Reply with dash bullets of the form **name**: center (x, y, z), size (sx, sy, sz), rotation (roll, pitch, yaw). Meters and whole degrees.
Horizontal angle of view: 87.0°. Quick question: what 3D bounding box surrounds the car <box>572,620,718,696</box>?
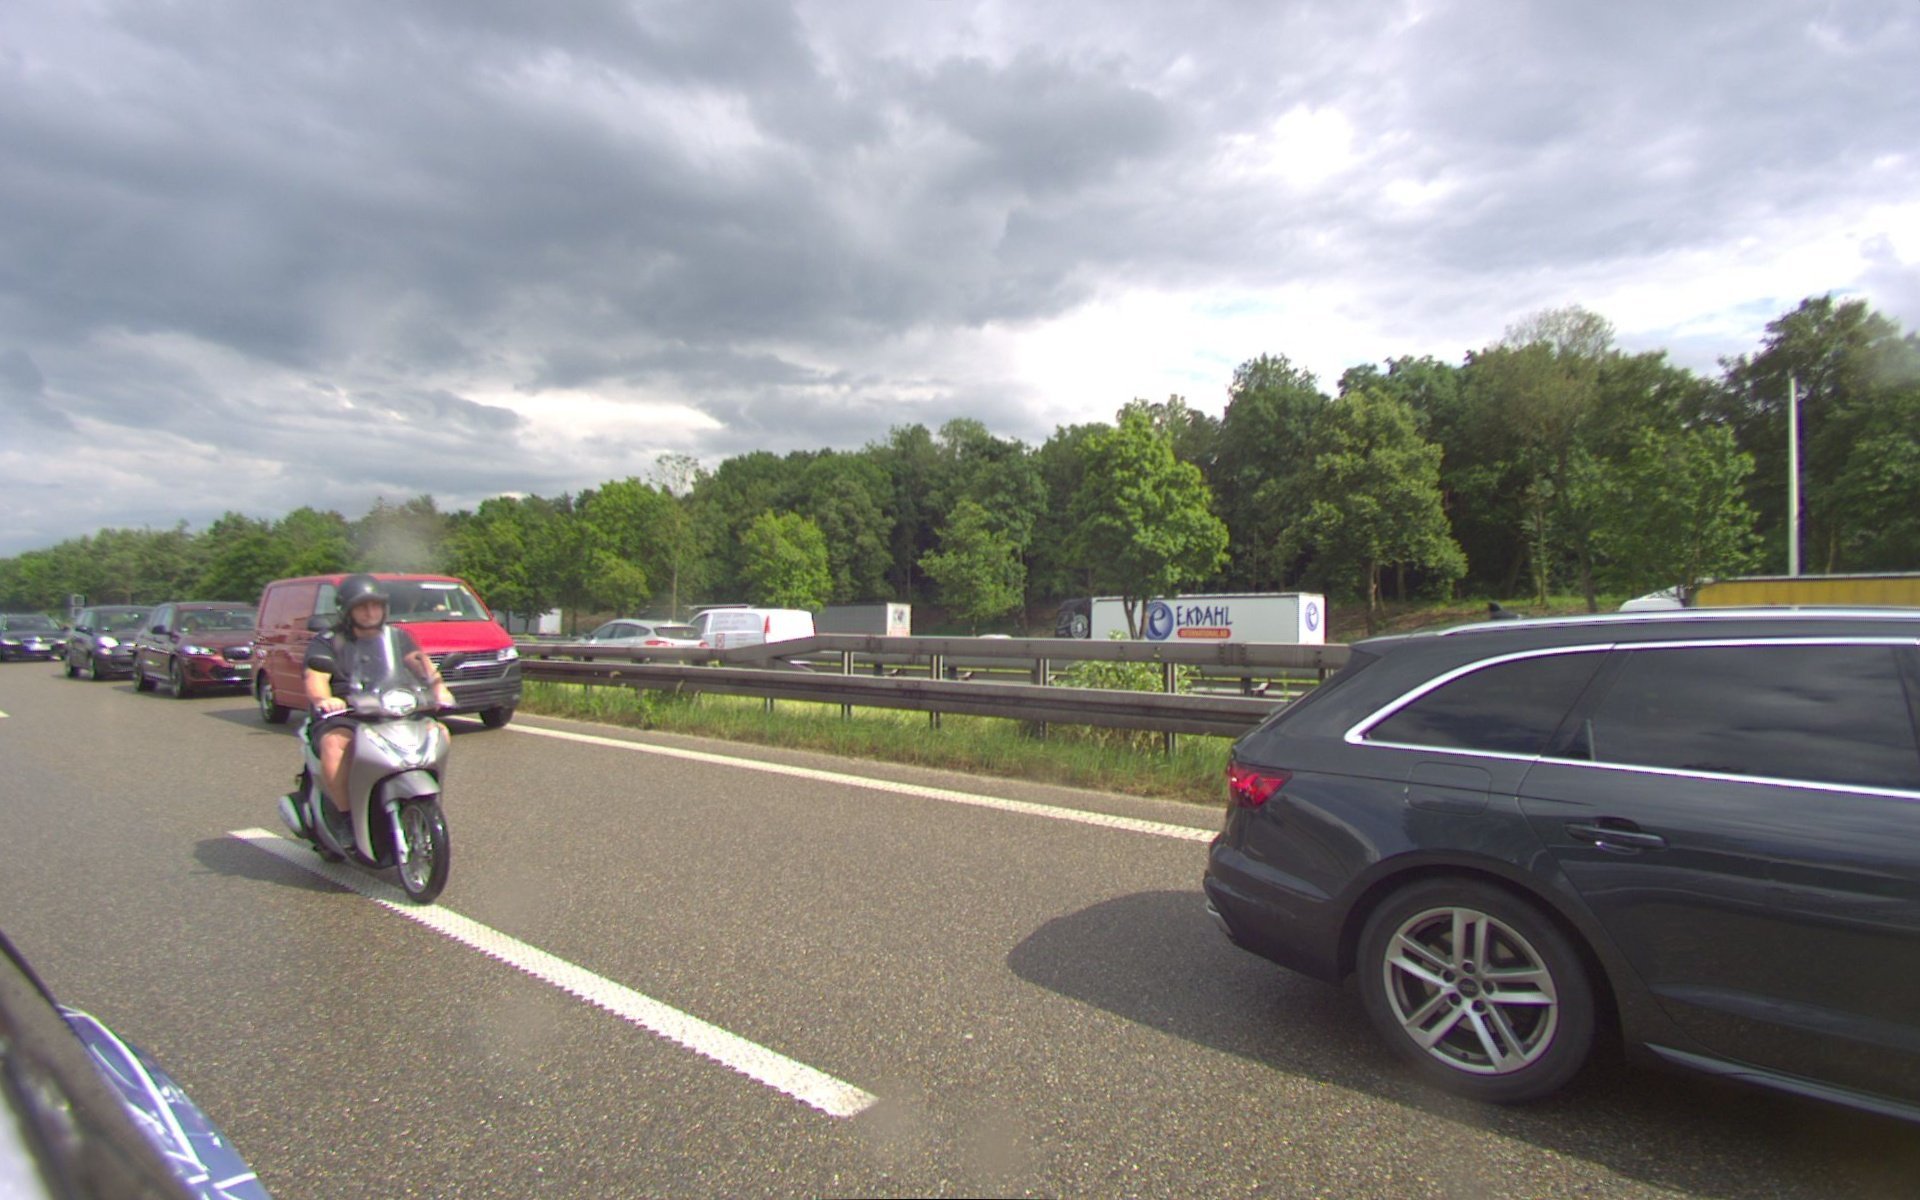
- **car**: center (-7.565, 1.316, 24.174), size (3.778, 1.619, 1.518), rotation (-1, 0, 39)

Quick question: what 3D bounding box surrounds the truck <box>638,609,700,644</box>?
- **truck**: center (-27.937, 2.518, 96.950), size (6.532, 3.275, 2.548), rotation (-1, -2, 41)

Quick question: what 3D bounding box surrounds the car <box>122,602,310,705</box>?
- **car**: center (-13.743, 0.898, 18.610), size (4.292, 1.682, 1.871), rotation (-1, -1, 41)

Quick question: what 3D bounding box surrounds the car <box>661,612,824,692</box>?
- **car**: center (-6.079, 1.347, 28.021), size (4.728, 2.029, 1.973), rotation (-1, 0, 41)

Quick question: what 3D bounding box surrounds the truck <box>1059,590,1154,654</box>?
- **truck**: center (8.761, 1.348, 60.900), size (2.136, 3.648, 5.585), rotation (2, -2, -41)

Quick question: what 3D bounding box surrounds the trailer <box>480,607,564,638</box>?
- **trailer**: center (-49.491, 2.521, 114.086), size (12.632, 3.296, 3.153), rotation (-1, -2, 39)

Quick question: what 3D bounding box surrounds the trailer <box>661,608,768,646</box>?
- **trailer**: center (-22.581, 2.436, 92.310), size (12.641, 3.296, 2.577), rotation (-1, -3, 41)

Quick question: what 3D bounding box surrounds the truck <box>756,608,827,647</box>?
- **truck**: center (-14.178, 2.316, 84.982), size (5.597, 3.208, 3.009), rotation (-1, -2, 43)

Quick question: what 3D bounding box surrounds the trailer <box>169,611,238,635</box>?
- **trailer**: center (-114.822, 3.464, 153.597), size (13.353, 3.539, 2.681), rotation (0, -2, 27)

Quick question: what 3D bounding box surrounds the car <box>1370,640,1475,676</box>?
- **car**: center (21.241, 2.633, 46.563), size (1.871, 1.514, 4.005), rotation (2, -2, -41)

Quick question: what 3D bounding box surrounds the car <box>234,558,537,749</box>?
- **car**: center (-7.435, 0.596, 12.872), size (4.747, 2.000, 1.871), rotation (-1, -1, 41)

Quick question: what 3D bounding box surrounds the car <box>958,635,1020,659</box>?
- **car**: center (1.939, 3.184, 68.717), size (1.873, 1.514, 4.002), rotation (2, -2, -45)

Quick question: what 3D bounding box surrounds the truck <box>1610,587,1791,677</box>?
- **truck**: center (27.518, 1.116, 37.777), size (1.950, 3.121, 5.087), rotation (-1, 0, -37)

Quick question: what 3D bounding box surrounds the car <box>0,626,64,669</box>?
- **car**: center (-29.915, 1.464, 32.130), size (3.997, 1.245, 1.654), rotation (-1, -1, 41)

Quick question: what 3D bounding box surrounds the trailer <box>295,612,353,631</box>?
- **trailer**: center (-87.581, 2.968, 139.287), size (9.839, 2.594, 2.511), rotation (-1, -1, 30)

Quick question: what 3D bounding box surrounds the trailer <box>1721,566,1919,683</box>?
- **trailer**: center (32.253, 0.767, 31.484), size (1.967, 3.722, 13.689), rotation (0, 0, -37)

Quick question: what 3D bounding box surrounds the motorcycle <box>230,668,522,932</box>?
- **motorcycle**: center (-3.197, 0.964, 5.453), size (1.979, 1.095, 0.669), rotation (-1, 0, 38)

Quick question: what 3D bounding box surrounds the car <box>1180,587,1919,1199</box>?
- **car**: center (2.998, 0.676, 2.664), size (4.465, 1.422, 1.701), rotation (-1, -1, 41)

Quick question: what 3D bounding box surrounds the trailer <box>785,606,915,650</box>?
- **trailer**: center (-8.881, 2.201, 79.965), size (12.174, 3.217, 2.986), rotation (-1, -2, 43)

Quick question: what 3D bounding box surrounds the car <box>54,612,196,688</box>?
- **car**: center (-19.297, 1.083, 23.335), size (4.051, 1.578, 1.871), rotation (-1, -1, 41)

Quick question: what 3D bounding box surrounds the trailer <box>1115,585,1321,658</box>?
- **trailer**: center (13.714, 1.203, 55.281), size (2.156, 3.627, 11.735), rotation (2, -2, -41)

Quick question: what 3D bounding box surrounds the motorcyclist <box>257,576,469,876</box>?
- **motorcyclist**: center (-3.240, 0.611, 5.482), size (1.018, 1.453, 0.664), rotation (-1, 0, 38)
